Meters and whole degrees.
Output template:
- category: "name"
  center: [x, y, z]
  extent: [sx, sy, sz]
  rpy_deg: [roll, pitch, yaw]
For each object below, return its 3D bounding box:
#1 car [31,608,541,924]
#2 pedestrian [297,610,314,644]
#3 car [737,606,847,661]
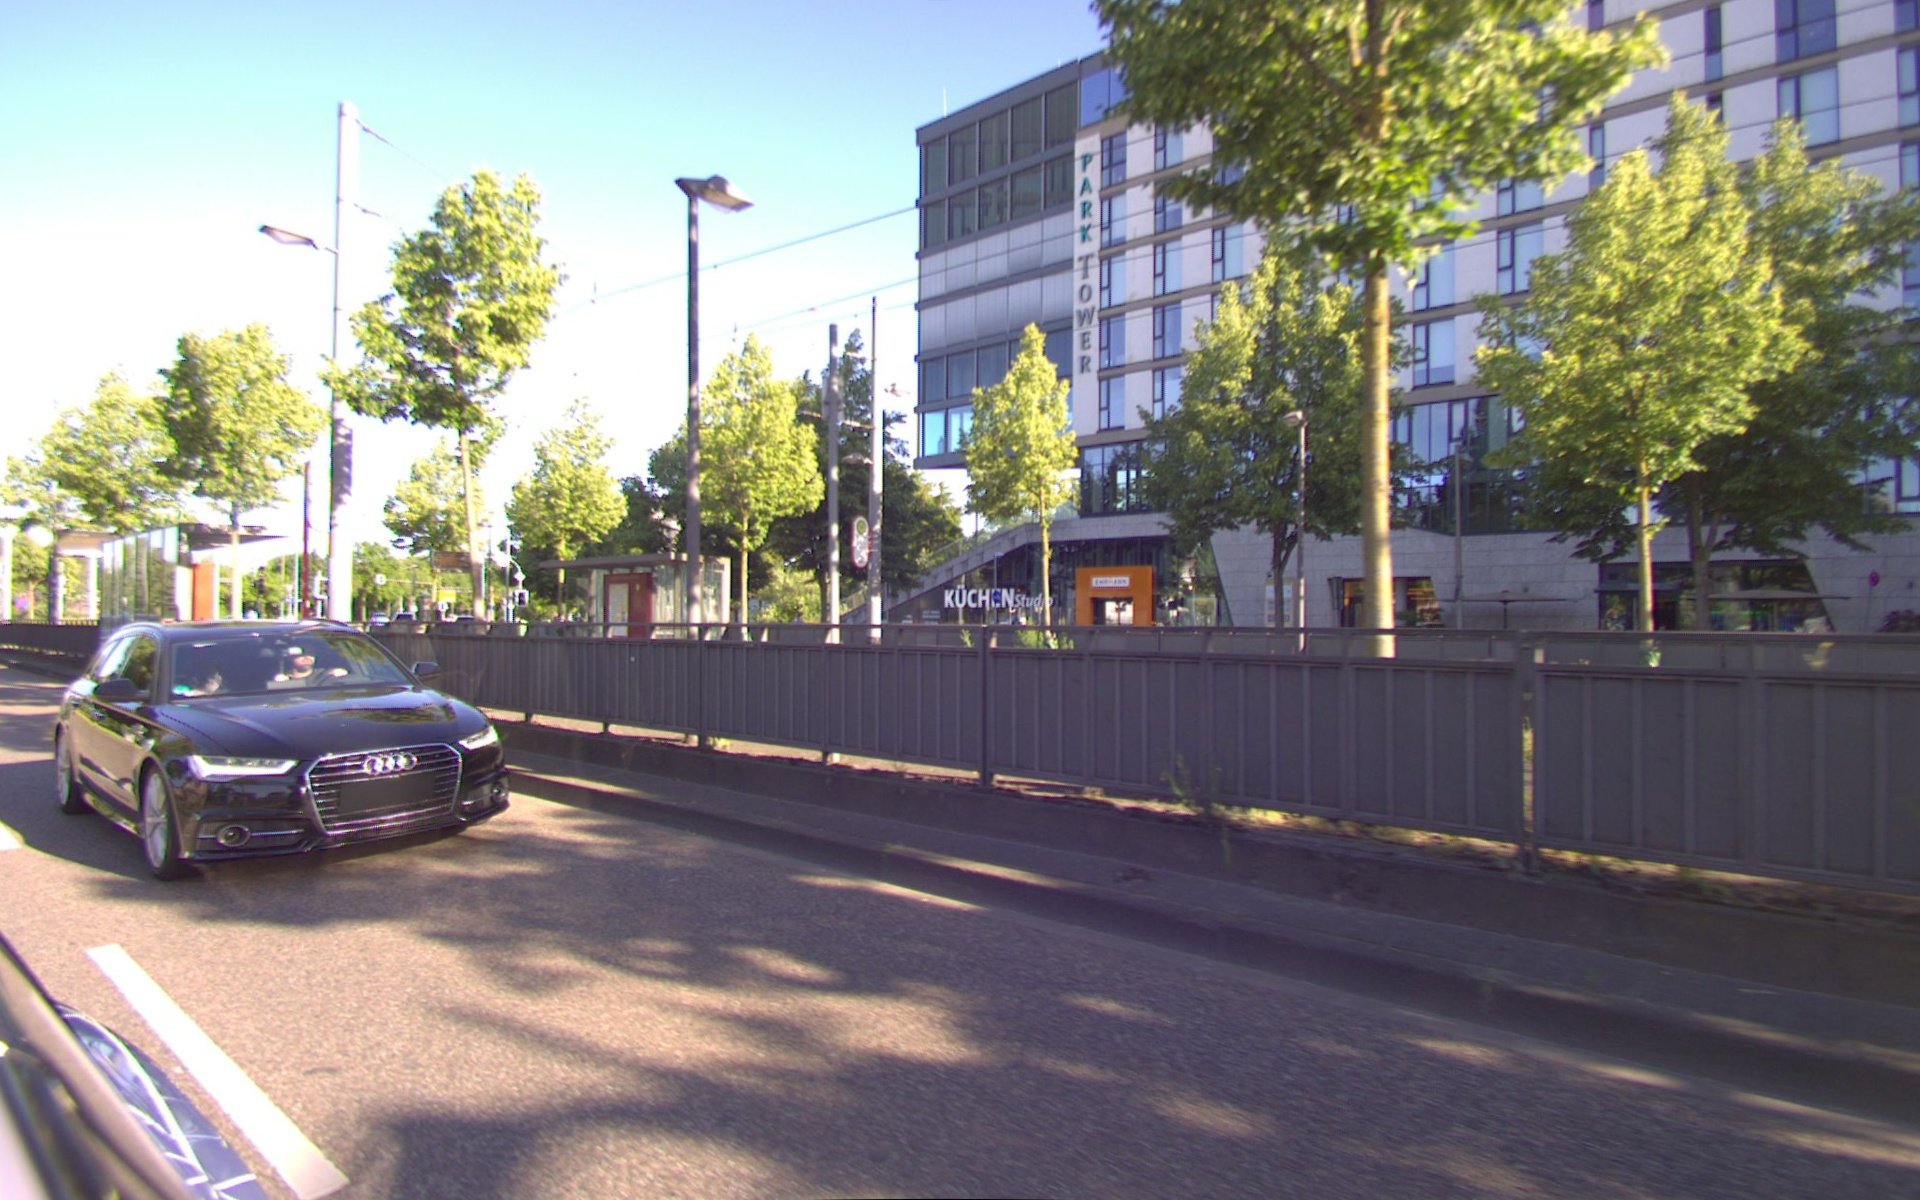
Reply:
- category: "car"
  center: [-4.931, 0.836, 7.104]
  extent: [4.597, 1.538, 1.766]
  rpy_deg: [-1, -1, 40]
- category: "pedestrian"
  center: [-31.234, 1.279, 48.287]
  extent: [0.810, 1.590, 0.413]
  rpy_deg: [1, 0, 38]
- category: "car"
  center: [-5.690, 1.080, 34.008]
  extent: [3.773, 1.678, 1.599]
  rpy_deg: [1, 0, 41]
